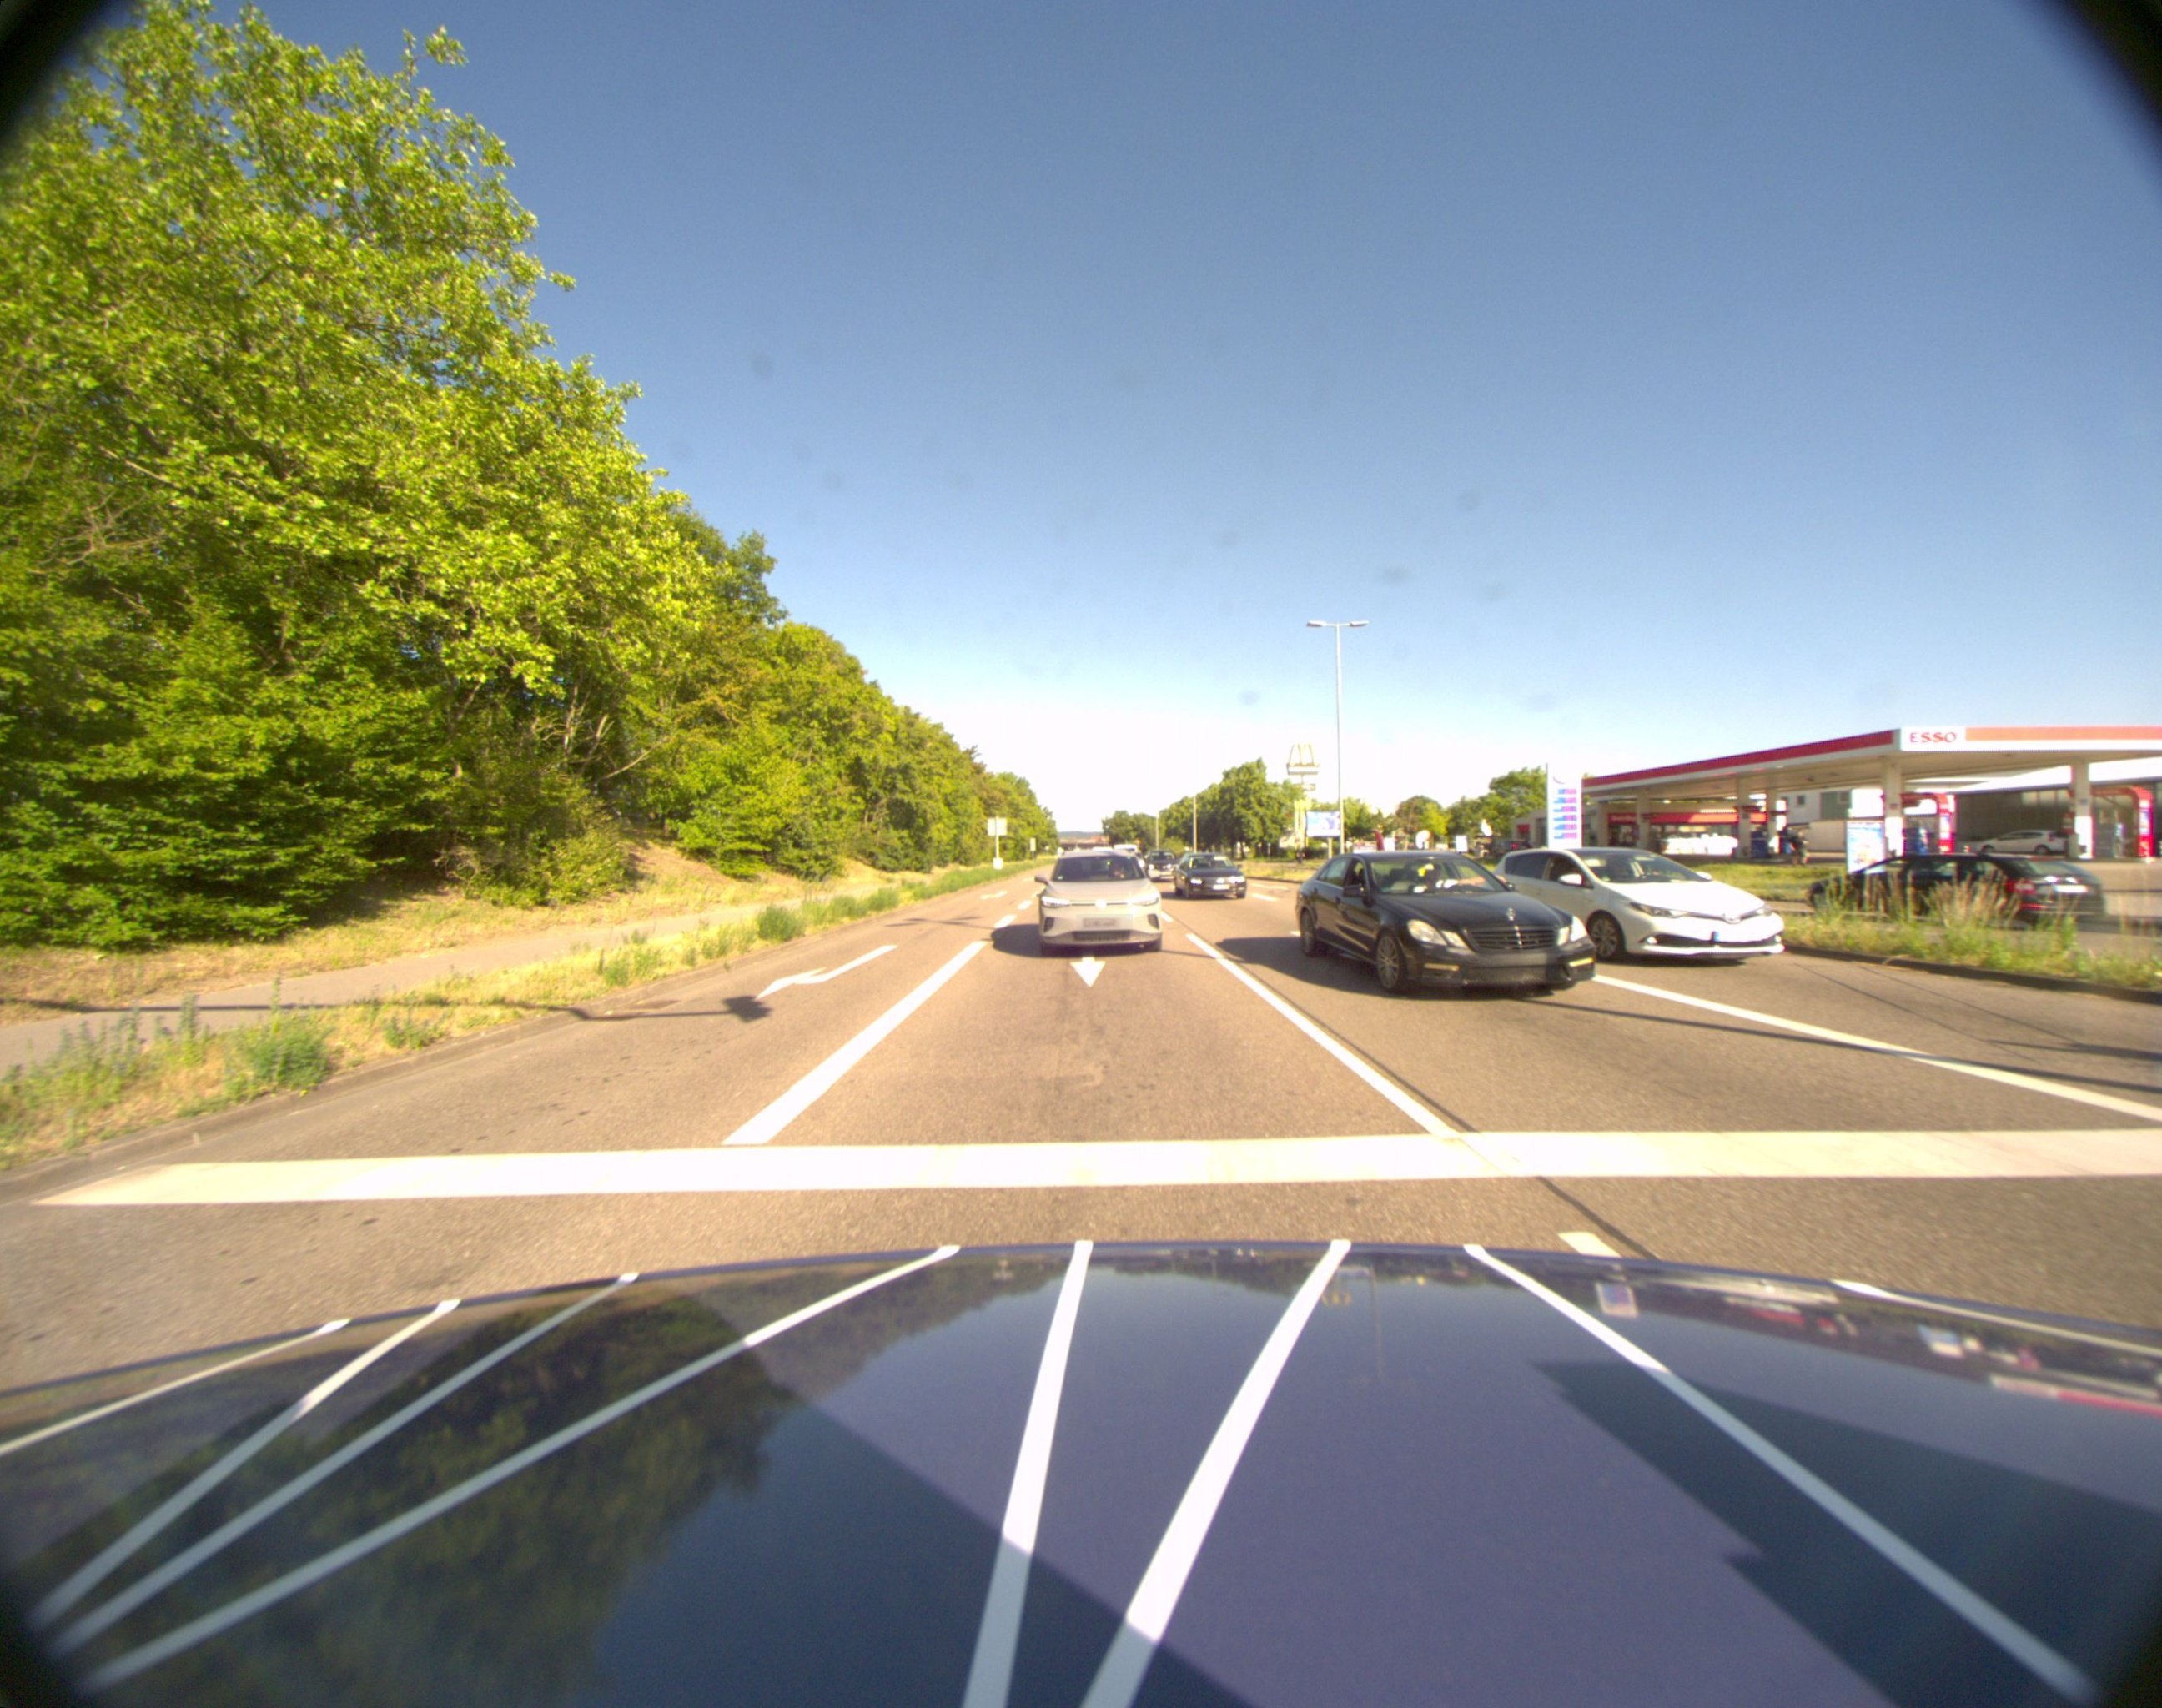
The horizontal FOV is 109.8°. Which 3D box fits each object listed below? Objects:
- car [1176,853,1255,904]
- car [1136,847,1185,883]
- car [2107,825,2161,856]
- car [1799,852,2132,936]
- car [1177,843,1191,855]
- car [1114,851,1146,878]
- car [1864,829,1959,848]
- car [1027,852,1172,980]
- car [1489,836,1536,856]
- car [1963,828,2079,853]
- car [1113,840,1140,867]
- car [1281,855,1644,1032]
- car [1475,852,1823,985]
[{"bbox_3d":[4.267,0.715,24.786,1.848,1.445,4.265,-2,0,1],"label":"car"},{"bbox_3d":[3.996,0.509,38.957,1.998,1.674,4.695,-2,1,0],"label":"car"},{"bbox_3d":[56.328,-0.679,38.936,1.900,1.582,4.119,1,1,-1],"label":"car"},{"bbox_3d":[17.751,0.710,15.676,1.699,1.424,4.458,1,1,1],"label":"car"},{"bbox_3d":[17.405,-0.894,128.663,1.699,2.064,4.458,1,1,1],"label":"car"},{"bbox_3d":[3.459,0.710,54.611,1.998,1.779,4.270,-2,1,0],"label":"car"},{"bbox_3d":[56.574,-1.015,51.860,1.900,1.220,4.119,1,1,-1],"label":"car"},{"bbox_3d":[0.281,0.809,12.126,1.848,1.615,4.265,-2,0,1],"label":"car"},{"bbox_3d":[37.739,-0.703,66.568,1.762,1.604,4.118,1,1,-1],"label":"car"},{"bbox_3d":[56.123,-0.775,45.481,1.772,1.432,4.119,-1,1,-1],"label":"car"},{"bbox_3d":[3.973,-0.069,66.776,2.089,2.230,3.999,-2,1,0],"label":"car"},{"bbox_3d":[4.015,0.798,9.167,1.964,1.474,4.918,-1,0,1],"label":"car"},{"bbox_3d":[7.396,0.716,10.522,1.790,1.447,4.116,-1,0,1],"label":"car"}]
